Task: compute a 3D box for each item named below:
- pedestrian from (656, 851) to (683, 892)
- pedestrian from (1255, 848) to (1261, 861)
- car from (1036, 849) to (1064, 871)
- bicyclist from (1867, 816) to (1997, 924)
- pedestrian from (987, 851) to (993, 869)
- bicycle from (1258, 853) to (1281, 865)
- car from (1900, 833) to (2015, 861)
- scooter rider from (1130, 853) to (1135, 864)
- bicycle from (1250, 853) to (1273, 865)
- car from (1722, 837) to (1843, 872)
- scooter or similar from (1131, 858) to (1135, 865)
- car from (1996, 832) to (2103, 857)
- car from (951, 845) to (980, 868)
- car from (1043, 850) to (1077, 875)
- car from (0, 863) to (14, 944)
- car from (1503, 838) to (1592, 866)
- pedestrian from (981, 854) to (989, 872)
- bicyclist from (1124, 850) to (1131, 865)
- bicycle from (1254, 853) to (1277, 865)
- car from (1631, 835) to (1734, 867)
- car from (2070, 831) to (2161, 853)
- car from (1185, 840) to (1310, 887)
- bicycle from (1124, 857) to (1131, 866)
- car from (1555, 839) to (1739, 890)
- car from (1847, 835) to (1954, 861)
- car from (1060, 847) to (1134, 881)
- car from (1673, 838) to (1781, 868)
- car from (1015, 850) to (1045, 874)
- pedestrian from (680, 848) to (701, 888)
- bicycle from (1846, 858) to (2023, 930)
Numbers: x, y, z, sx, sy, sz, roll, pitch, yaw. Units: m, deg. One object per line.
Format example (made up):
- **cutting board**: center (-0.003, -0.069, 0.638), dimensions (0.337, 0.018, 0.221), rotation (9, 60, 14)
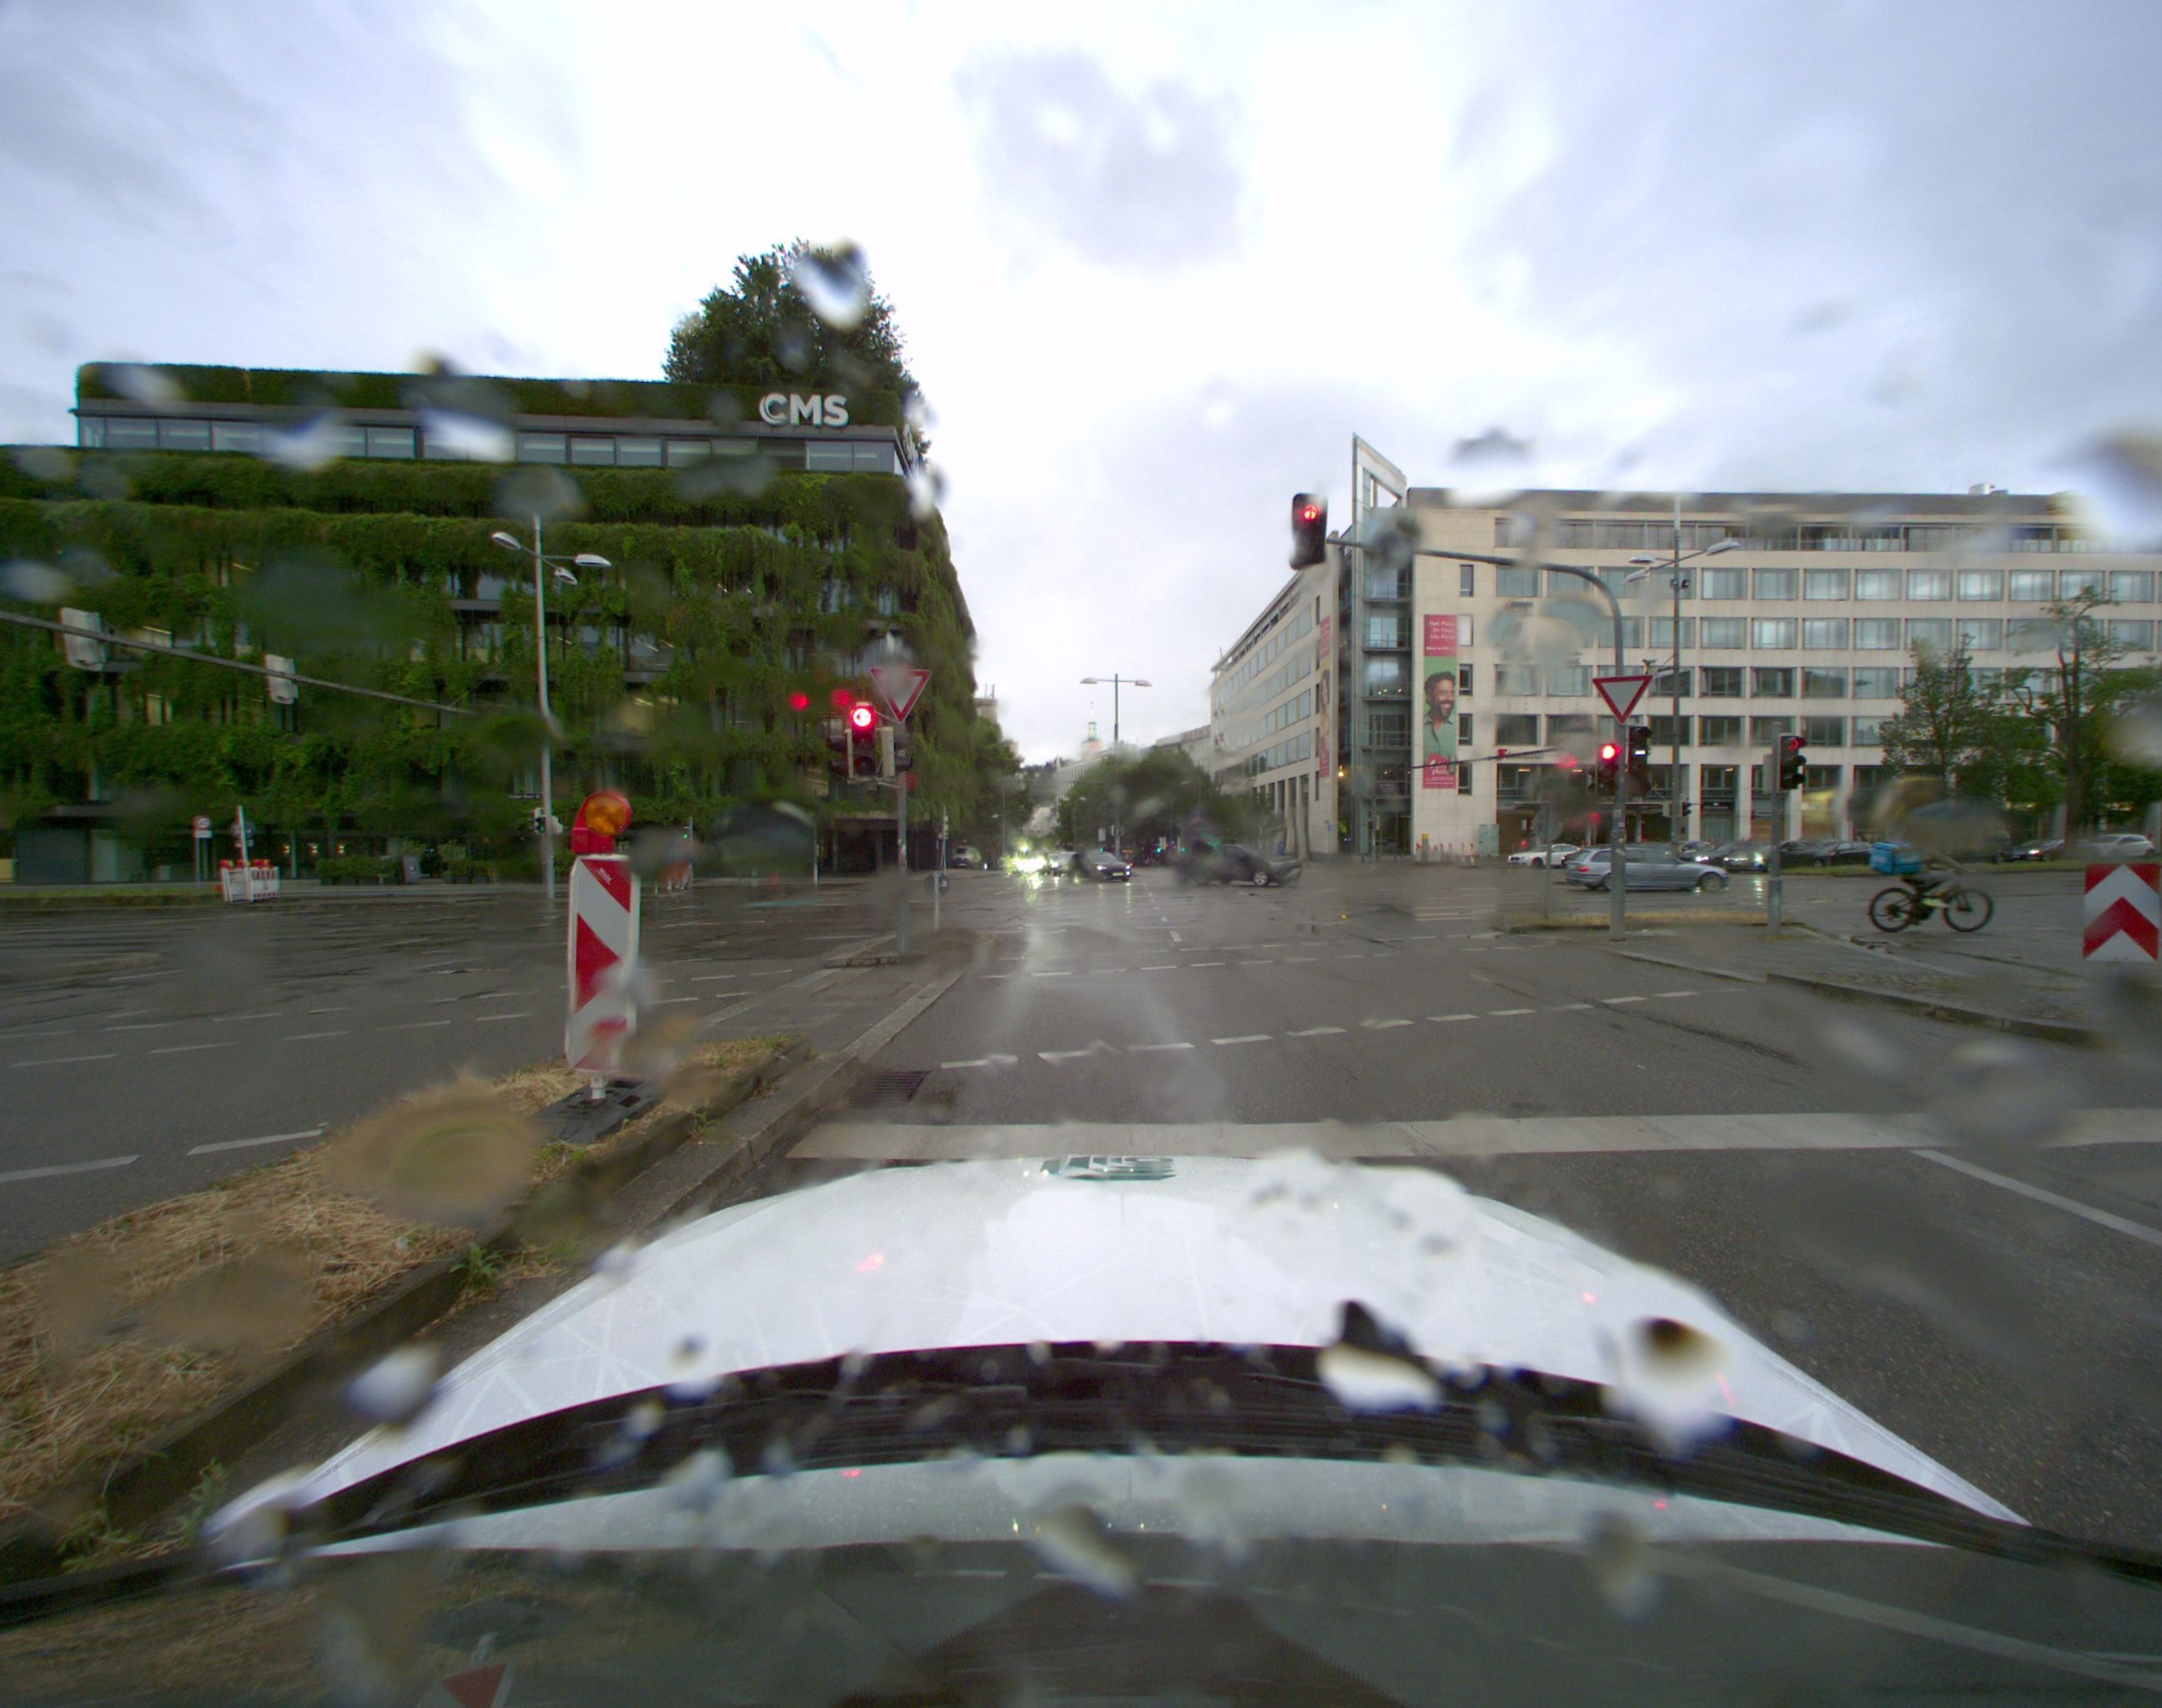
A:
- **pedestrian**: center (-18.178, 0.758, 36.012), dimensions (0.939, 1.758, 1.163), rotation (-1, 0, -22)
- **pedestrian**: center (17.383, 0.052, 79.786), dimensions (0.355, 1.173, 0.410), rotation (-1, -1, -34)
- **car**: center (-2.681, 0.488, 69.029), dimensions (2.171, 1.823, 4.637), rotation (-1, 0, -4)
- **bicyclist**: center (13.983, 0.256, 13.406), dimensions (1.292, 1.704, 0.847), rotation (-1, 0, -4)
- **pedestrian**: center (-7.838, 0.503, 70.215), dimensions (0.435, 1.524, 0.547), rotation (-1, 0, -3)
- **bicycle**: center (14.971, 0.399, 64.681), dimensions (1.778, 0.934, 0.478), rotation (-1, 0, 43)
- **car**: center (45.239, -0.350, 42.079), dimensions (4.637, 1.348, 1.919), rotation (-1, 0, -12)
- **scooter rider**: center (8.161, 0.703, 128.460), dimensions (0.759, 1.774, 0.796), rotation (-1, 0, 2)
- **bicycle**: center (14.182, 0.413, 64.057), dimensions (1.778, 0.934, 0.478), rotation (-1, 0, 43)
- **car**: center (31.248, 0.007, 36.296), dimensions (4.452, 1.464, 1.716), rotation (-1, 0, -11)
- **scooter or similar**: center (8.203, 1.210, 128.557), dimensions (0.554, 1.007, 1.825), rotation (-1, 0, 3)
- **car**: center (55.901, -0.564, 47.020), dimensions (4.634, 1.348, 1.921), rotation (-1, 0, -10)
- **car**: center (-9.709, 0.202, 68.728), dimensions (1.989, 1.895, 4.461), rotation (-1, 0, -2)
- **car**: center (-1.326, 0.522, 52.536), dimensions (1.987, 1.443, 4.557), rotation (-1, 1, 1)
- **car**: center (-27.143, 1.199, 18.232), dimensions (3.451, 1.922, 1.992), rotation (-1, 0, -11)
- **car**: center (27.936, -0.127, 48.792), dimensions (4.456, 1.598, 1.991), rotation (-1, 0, -14)
- **pedestrian**: center (-8.274, 0.744, 70.196), dimensions (0.605, 1.524, 0.587), rotation (-1, 0, -3)
- **bicyclist**: center (6.321, 0.463, 111.127), dimensions (0.788, 1.975, 1.114), rotation (-1, 0, 0)
- **bicycle**: center (14.840, 0.405, 65.651), dimensions (1.778, 0.934, 0.478), rotation (-1, 0, 43)
- **car**: center (31.672, -0.172, 42.921), dimensions (4.455, 1.598, 1.991), rotation (-1, 0, -13)
- **car**: center (65.765, -0.743, 51.476), dimensions (4.629, 1.348, 1.923), rotation (-1, 0, -6)
- **car**: center (6.387, 0.328, 31.559), dimensions (4.309, 1.655, 1.982), rotation (0, 2, 43)
- **bicycle**: center (6.339, 1.040, 111.126), dimensions (0.788, 1.117, 2.256), rotation (-1, 0, 1)
- **car**: center (17.906, 0.329, 26.011), dimensions (4.418, 1.486, 2.008), rotation (-1, 1, 13)
- **car**: center (45.815, -0.355, 45.543), dimensions (4.634, 1.348, 1.921), rotation (-1, 0, -10)
- **car**: center (0.683, 0.427, 38.588), dimensions (1.864, 1.448, 4.587), rotation (-1, 1, -22)
- **car**: center (31.342, -0.047, 39.540), dimensions (4.455, 1.348, 1.715), rotation (-1, 0, -13)
- **car**: center (-3.570, 0.549, 57.602), dimensions (1.988, 1.598, 4.461), rotation (-1, 0, -2)
- **pedestrian**: center (-17.424, 0.627, 36.368), dimensions (0.744, 1.758, 0.969), rotation (-1, 0, -22)
- **bicycle**: center (13.986, 0.635, 13.379), dimensions (2.142, 1.103, 0.847), rotation (-1, 0, -5)
